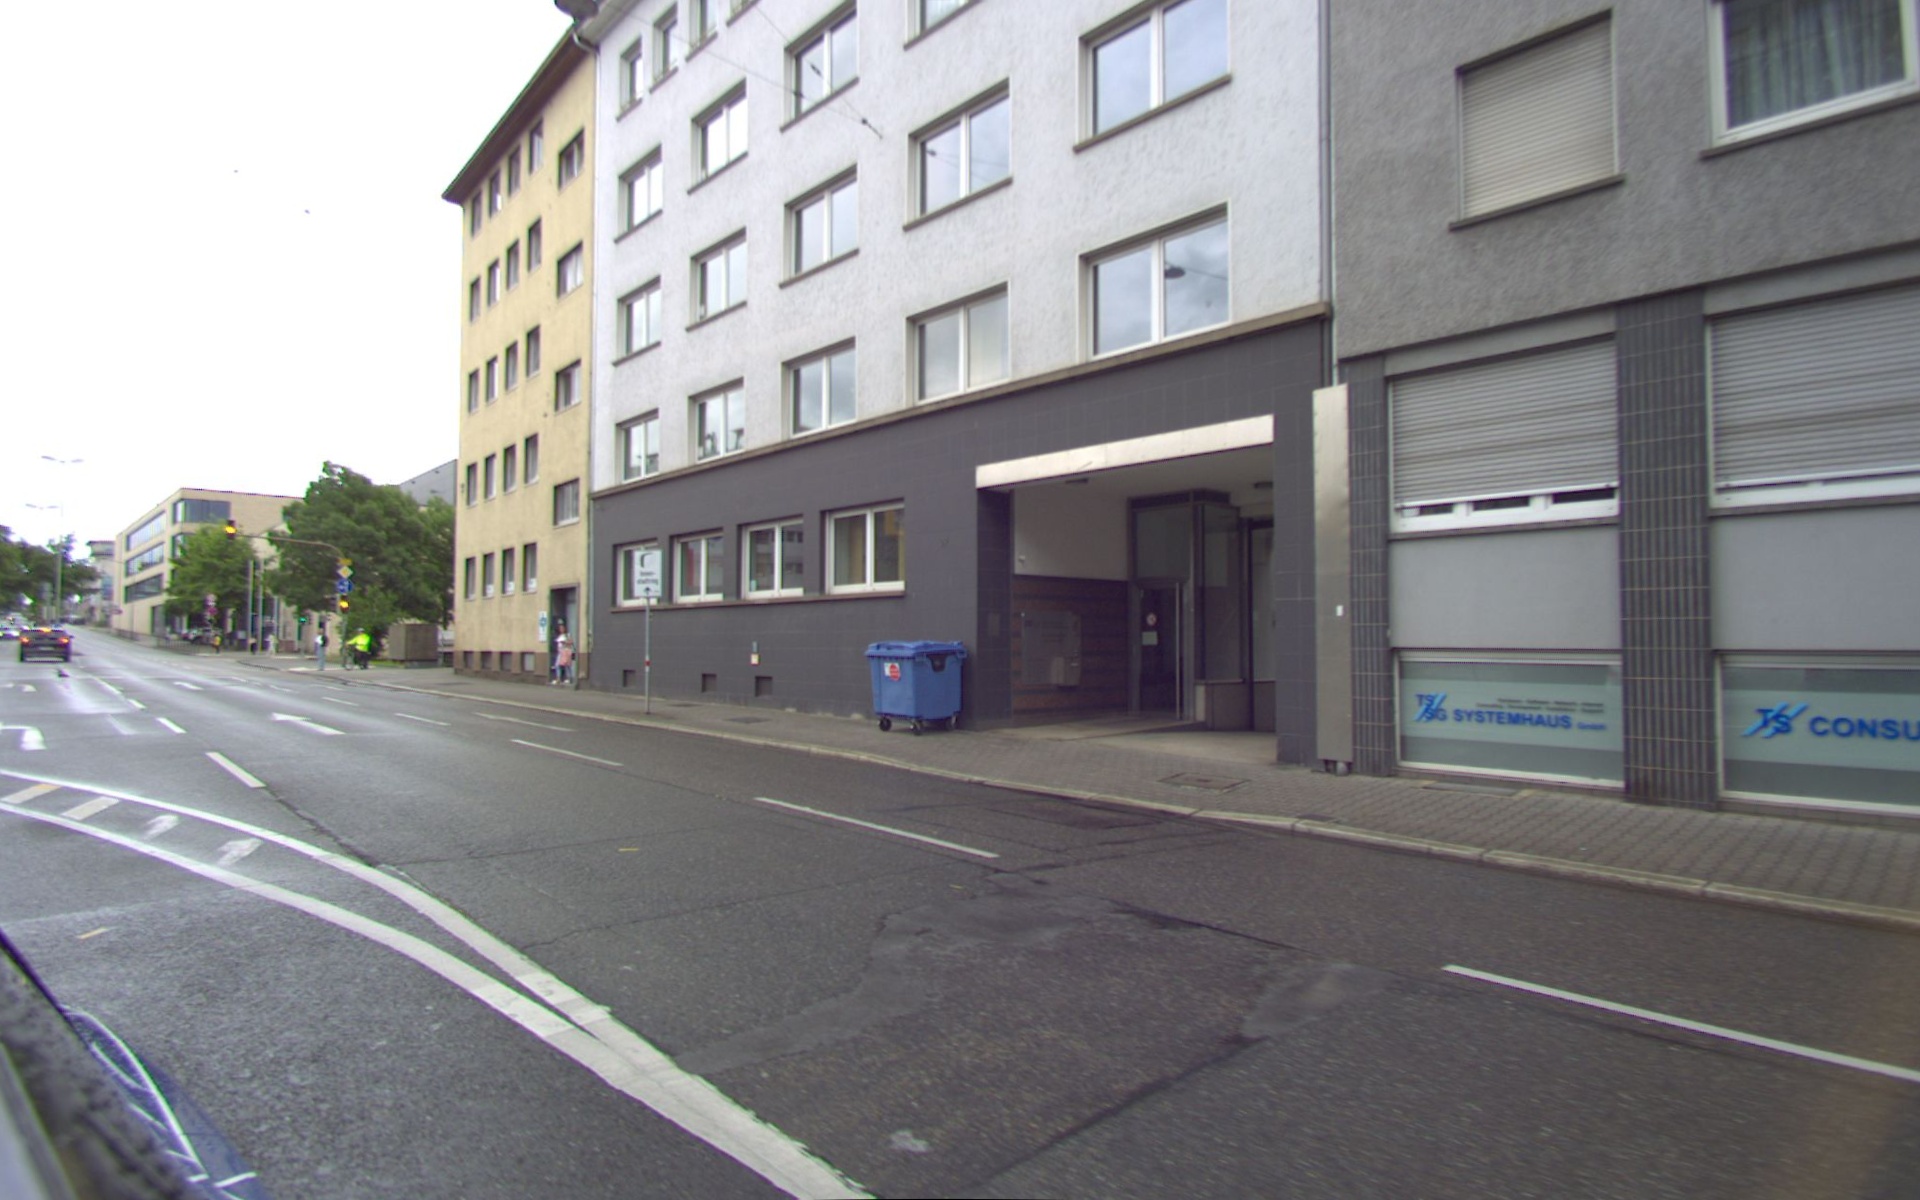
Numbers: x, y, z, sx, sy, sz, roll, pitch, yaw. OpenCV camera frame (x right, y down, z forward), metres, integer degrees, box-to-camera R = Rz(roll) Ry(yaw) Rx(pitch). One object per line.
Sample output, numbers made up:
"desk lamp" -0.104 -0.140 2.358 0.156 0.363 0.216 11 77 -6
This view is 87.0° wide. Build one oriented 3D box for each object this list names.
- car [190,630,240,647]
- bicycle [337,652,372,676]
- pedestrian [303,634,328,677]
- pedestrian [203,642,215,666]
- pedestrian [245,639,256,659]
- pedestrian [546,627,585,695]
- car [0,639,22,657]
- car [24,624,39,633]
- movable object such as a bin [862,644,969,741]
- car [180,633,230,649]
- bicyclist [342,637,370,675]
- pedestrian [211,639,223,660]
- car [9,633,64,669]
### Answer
"car" -74.235 3.836 100.826 3.936 1.597 2.004 1 -2 -39
"bicycle" -24.165 2.545 40.388 0.874 0.914 1.869 1 -2 -41
"pedestrian" -25.991 2.226 40.813 0.708 1.702 0.812 1 -2 -41
"pedestrian" -54.558 3.919 73.520 0.587 1.785 0.692 1 -2 -44
"pedestrian" -51.674 3.556 73.693 0.613 1.386 0.475 1 -2 -43
"pedestrian" -10.204 1.559 26.169 0.708 1.702 0.812 1 -2 -41
"car" -97.331 4.887 103.413 4.002 1.796 1.971 -2 -2 45
"car" -155.796 4.806 169.799 1.652 1.481 4.303 6 -6 -44
"movable object such as a bin" -0.661 1.332 14.962 1.063 1.334 1.192 1 -2 -43
"car" -76.287 4.108 102.263 3.936 1.597 2.004 1 -2 -39
"bicyclist" -24.135 2.226 40.437 0.832 1.453 0.814 1 -2 -41
"pedestrian" -54.916 3.680 74.811 0.587 1.528 0.692 1 -2 -44
"car" -43.276 2.402 47.475 1.786 1.607 4.300 3 -4 -42
